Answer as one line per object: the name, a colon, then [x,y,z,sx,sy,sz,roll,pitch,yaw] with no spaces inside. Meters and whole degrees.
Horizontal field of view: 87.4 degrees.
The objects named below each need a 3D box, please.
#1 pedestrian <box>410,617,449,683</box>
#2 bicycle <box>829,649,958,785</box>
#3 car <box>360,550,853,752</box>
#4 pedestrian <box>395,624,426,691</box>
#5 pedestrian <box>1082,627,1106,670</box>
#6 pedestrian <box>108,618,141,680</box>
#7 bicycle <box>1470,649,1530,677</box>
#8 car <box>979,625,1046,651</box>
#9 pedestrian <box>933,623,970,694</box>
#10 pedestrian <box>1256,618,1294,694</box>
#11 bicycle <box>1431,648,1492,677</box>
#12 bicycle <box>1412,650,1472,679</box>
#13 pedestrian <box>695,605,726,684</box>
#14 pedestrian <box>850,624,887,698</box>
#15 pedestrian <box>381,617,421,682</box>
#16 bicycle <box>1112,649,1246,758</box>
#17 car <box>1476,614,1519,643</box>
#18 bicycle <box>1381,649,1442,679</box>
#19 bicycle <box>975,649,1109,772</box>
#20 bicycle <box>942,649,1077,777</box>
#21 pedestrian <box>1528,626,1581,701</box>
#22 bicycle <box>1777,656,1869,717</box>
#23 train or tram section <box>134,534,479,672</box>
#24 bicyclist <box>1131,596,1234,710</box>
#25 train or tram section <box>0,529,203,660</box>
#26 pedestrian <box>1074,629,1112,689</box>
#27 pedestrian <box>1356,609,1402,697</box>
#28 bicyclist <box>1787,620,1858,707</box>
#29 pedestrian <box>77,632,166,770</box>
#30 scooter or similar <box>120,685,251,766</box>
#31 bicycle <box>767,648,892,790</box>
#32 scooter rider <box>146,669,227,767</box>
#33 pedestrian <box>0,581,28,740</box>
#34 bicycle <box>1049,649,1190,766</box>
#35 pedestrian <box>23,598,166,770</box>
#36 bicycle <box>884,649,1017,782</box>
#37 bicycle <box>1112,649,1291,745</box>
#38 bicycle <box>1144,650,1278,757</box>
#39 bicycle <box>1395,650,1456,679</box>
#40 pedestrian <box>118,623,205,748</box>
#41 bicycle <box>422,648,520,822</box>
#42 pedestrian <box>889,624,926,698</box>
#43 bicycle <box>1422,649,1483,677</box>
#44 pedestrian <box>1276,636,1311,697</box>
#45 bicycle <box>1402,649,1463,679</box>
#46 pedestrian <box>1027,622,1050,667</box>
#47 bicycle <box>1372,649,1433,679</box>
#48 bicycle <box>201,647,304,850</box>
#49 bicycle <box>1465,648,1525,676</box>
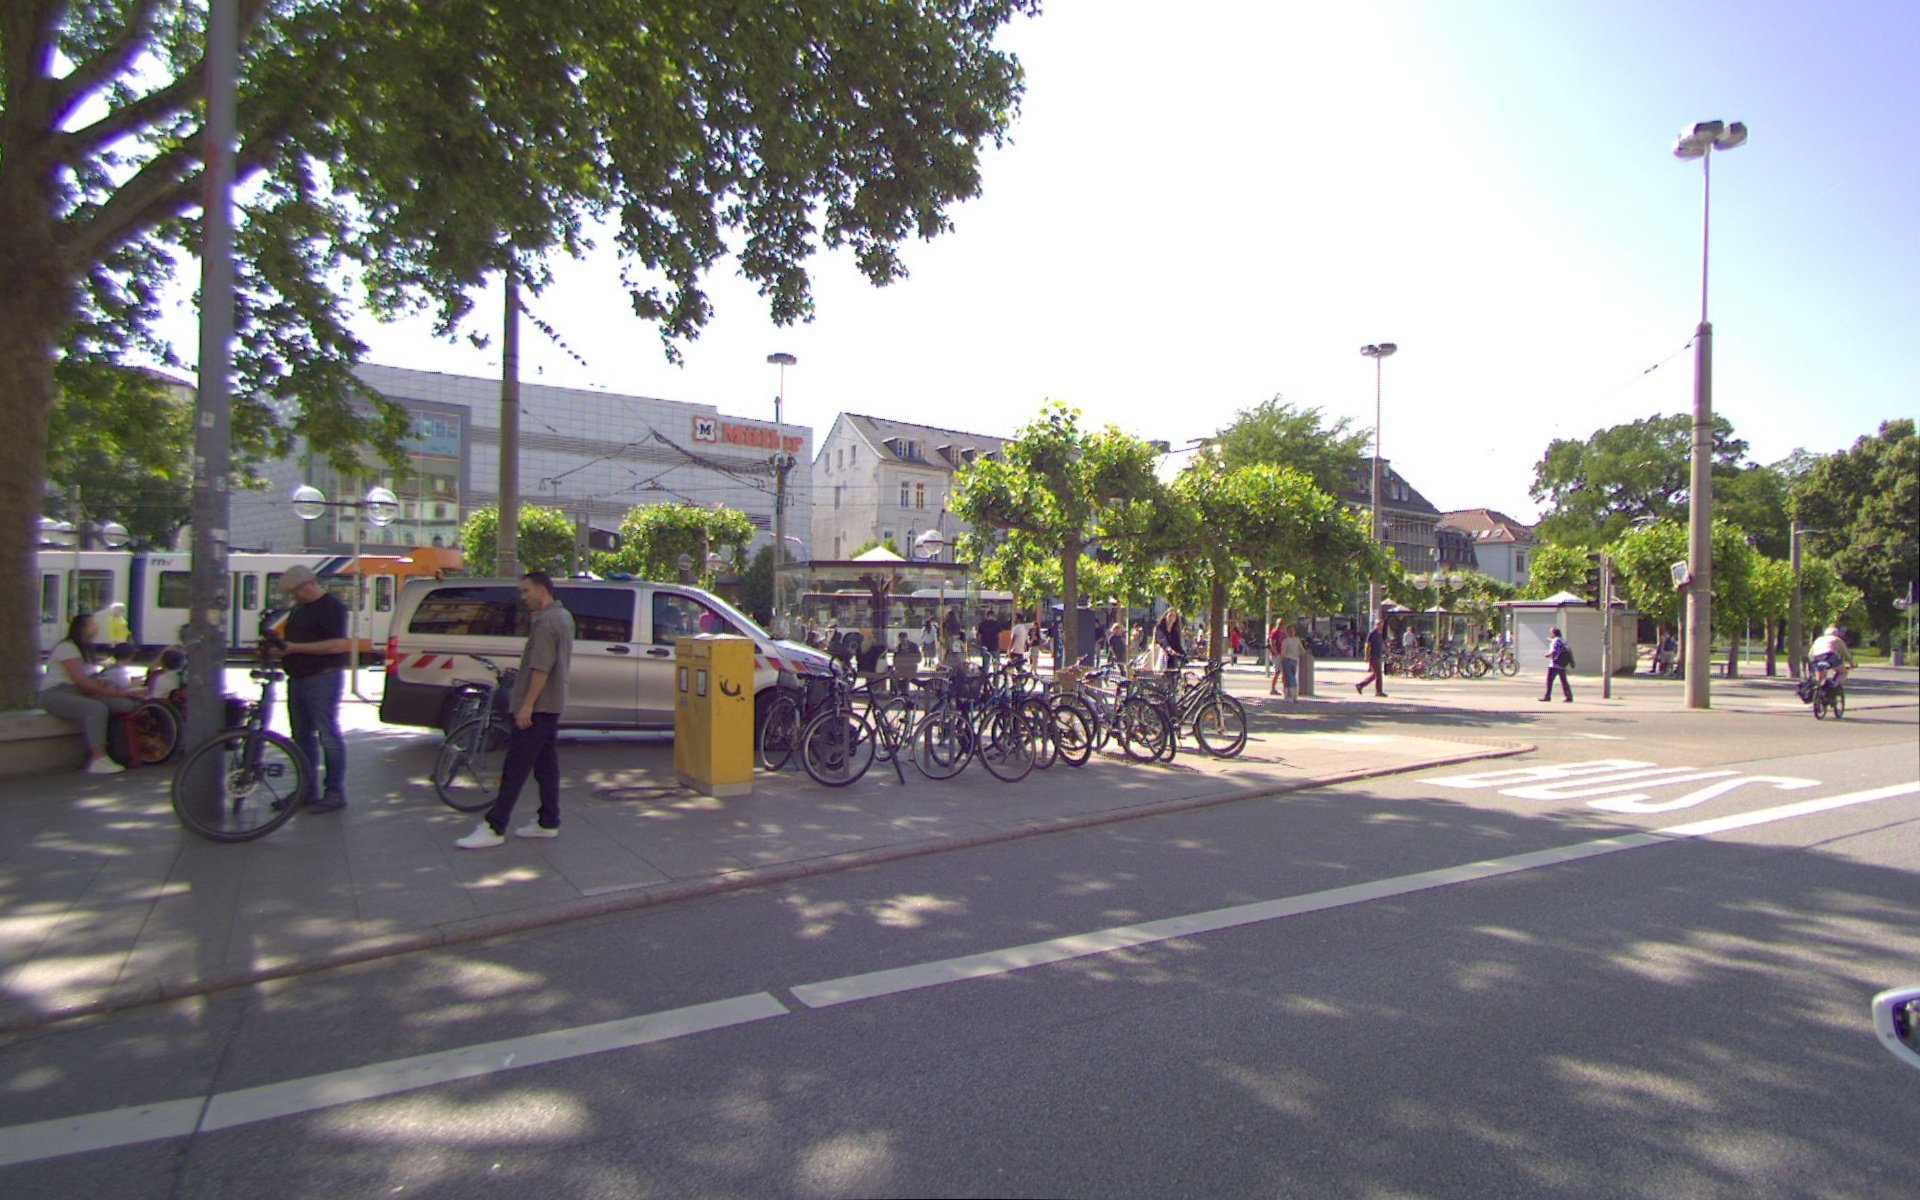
pedestrian: [-12.931,1.225,24.493,0.567,1.569,0.681,-1,-2,-1]
bicycle: [-0.699,1.096,9.945,0.477,1.162,1.742,2,-1,-33]
car: [-3.838,0.578,11.720,4.976,2.040,1.996,2,1,-10]
pedestrian: [-10.801,1.123,19.738,0.479,1.270,0.493,2,1,-33]
pedestrian: [4.596,1.656,34.397,0.667,1.437,0.625,-2,-3,21]
pedestrian: [-20.614,1.193,24.795,0.450,1.492,0.552,2,1,-24]
bicycle: [19.977,2.315,37.166,0.578,0.881,1.846,1,1,-43]
car: [3.312,2.367,63.090,3.964,1.528,1.742,2,1,-38]
pedestrian: [-0.176,1.263,21.736,0.612,1.484,0.681,-2,-3,15]
pedestrian: [7.425,1.322,23.680,0.667,1.768,0.625,-1,-2,3]
bicycle: [18.161,2.254,36.401,0.578,0.881,1.846,1,1,-43]
bicycle: [17.066,2.273,35.607,0.543,0.868,1.846,1,1,-43]
pedestrian: [-5.822,1.032,23.462,0.668,1.801,0.577,0,-2,-11]
pedestrian: [-1.873,1.240,20.510,0.668,1.484,0.727,0,-3,-11]
pedestrian: [-13.603,1.205,24.472,0.567,1.569,0.681,-1,-2,3]
bicycle: [2.604,1.202,12.139,0.477,1.162,1.742,2,-1,-33]
car: [64.697,3.430,120.947,5.361,3.360,2.115,2,1,-32]
bicycle: [15.612,2.192,34.759,0.579,0.883,1.846,1,1,-43]
bicycle: [0.852,1.146,10.915,0.477,1.162,1.742,2,-1,-33]
bicycle: [0.481,1.135,10.570,0.477,1.162,1.742,2,-1,-33]
pedestrian: [13.761,1.454,23.268,0.675,1.680,0.884,2,-1,-40]
bicycle: [16.896,1.675,19.664,1.853,1.135,0.813,2,-4,-32]
train or tram section: [-20.612,0.075,31.967,9.329,3.878,2.622,2,1,2]
bicyclist: [3.148,0.727,14.281,0.822,1.518,1.151,2,1,-30]
train or tram section: [-29.933,-0.271,32.257,9.329,3.878,2.622,2,1,2]
pedestrian: [3.331,1.477,25.191,0.673,1.484,0.620,1,-3,-31]
pedestrian: [9.966,1.259,23.903,0.877,2.034,0.681,-1,-2,15]
bicyclist: [16.874,1.225,19.657,0.892,1.643,0.813,1,-1,-31]
pedestrian: [-7.608,0.897,9.125,0.342,1.188,0.507,2,1,2]
scooter or similar: [-7.276,1.172,9.463,0.770,0.656,0.580,2,1,2]
bicycle: [-1.282,1.077,9.583,0.477,1.162,1.742,2,-1,-33]
scooter rider: [-7.248,1.092,9.423,0.342,0.850,0.507,2,1,2]
pedestrian: [-11.106,0.667,11.362,0.777,1.770,0.660,1,1,-41]
bicycle: [1.780,1.176,11.502,0.477,1.162,1.849,2,-1,-33]
pedestrian: [-7.819,0.736,9.097,0.770,1.480,0.580,2,1,2]
bicycle: [-0.135,1.116,10.173,0.477,1.162,1.742,2,-1,-33]
bicycle: [3.289,1.284,14.002,0.822,1.036,2.604,2,1,-31]
bicycle: [3.050,1.230,12.376,0.477,1.162,1.742,2,-1,-33]
bicycle: [16.177,2.239,34.923,0.543,0.868,1.846,1,1,-43]
pedestrian: [-8.137,0.856,10.251,0.450,1.222,0.501,2,1,2]
bicycle: [-3.900,0.993,7.957,0.477,1.162,1.742,2,-1,-33]
pedestrian: [-1.091,1.252,20.686,0.668,1.484,0.624,0,-2,-11]
bicycle: [17.594,2.244,35.901,0.543,0.868,1.846,1,1,-43]
pedestrian: [7.076,1.402,21.329,0.543,1.250,0.579,1,-1,3]
bicycle: [16.571,2.234,35.268,0.543,0.868,1.846,1,1,-43]
pedestrian: [2.722,1.552,34.986,0.523,1.573,0.597,0,-3,-28]
bicycle: [15.129,2.187,34.366,0.543,0.868,1.846,1,1,-43]
bicycle: [-4.830,0.935,6.922,0.477,1.162,1.742,2,-1,-33]
bicycle: [19.570,2.243,36.756,0.578,0.881,1.846,1,1,-43]
